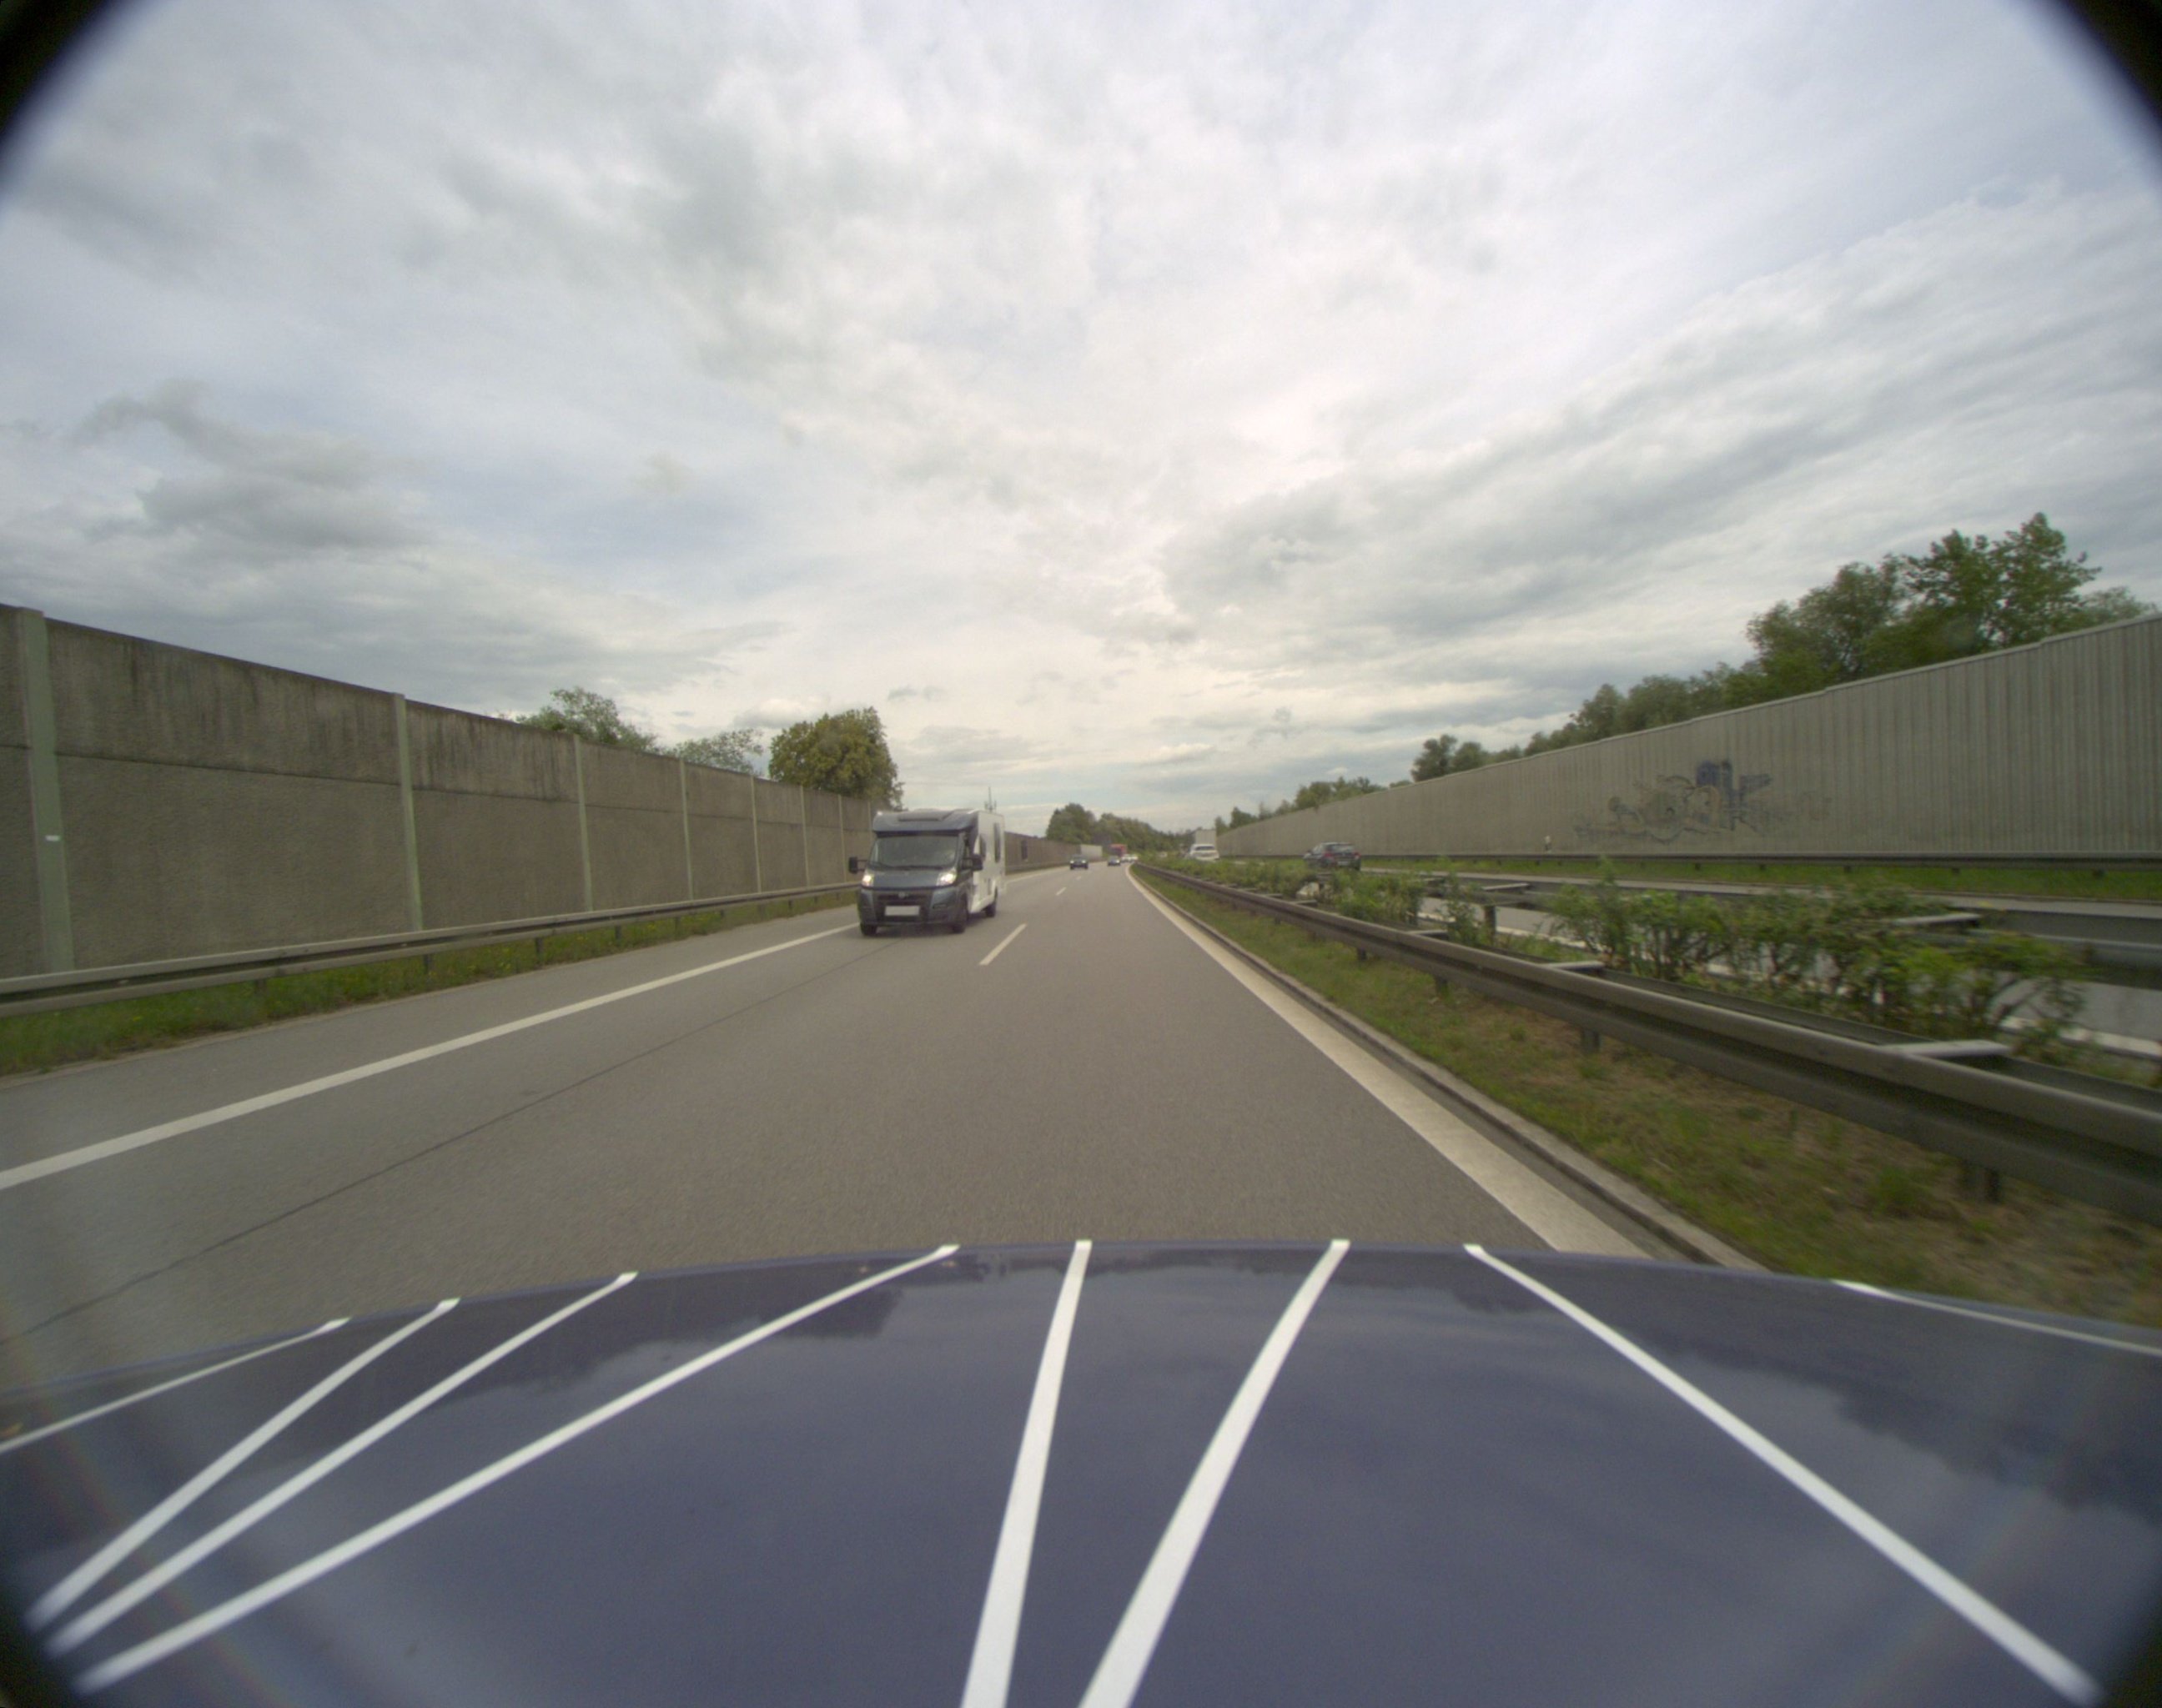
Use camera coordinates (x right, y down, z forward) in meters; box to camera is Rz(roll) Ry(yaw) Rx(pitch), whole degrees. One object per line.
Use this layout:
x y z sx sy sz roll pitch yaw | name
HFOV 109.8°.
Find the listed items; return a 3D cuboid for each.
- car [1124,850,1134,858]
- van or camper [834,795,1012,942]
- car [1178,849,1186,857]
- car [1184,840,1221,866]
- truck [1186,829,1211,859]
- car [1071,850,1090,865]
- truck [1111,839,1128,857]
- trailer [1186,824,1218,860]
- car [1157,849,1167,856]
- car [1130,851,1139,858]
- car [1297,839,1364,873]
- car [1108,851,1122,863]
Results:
9.572 0.035 151.448 1.889 1.608 4.001 -1 0 4 | car
-3.299 0.272 17.926 2.435 2.681 7.225 -2 0 1 | van or camper
23.154 -0.222 174.235 1.719 1.632 4.706 -2 0 7 | car
8.568 -0.057 54.039 1.968 1.660 4.924 -3 0 2 | car
16.150 -1.337 105.003 2.879 3.836 6.077 -2 0 5 | truck
0.016 0.379 83.286 1.889 1.608 4.000 -1 0 2 | car
9.303 -1.386 181.151 2.932 4.068 11.348 -2 0 7 | truck
15.548 -1.493 98.401 2.988 4.215 14.183 -2 0 5 | trailer
17.122 -0.338 161.230 1.935 1.539 4.568 -2 0 4 | car
12.855 0.114 182.131 1.889 1.608 4.001 -1 0 5 | car
11.522 0.075 35.376 1.726 1.409 4.554 -1 0 1 | car
4.808 0.393 106.987 1.889 1.608 4.001 -1 0 4 | car
